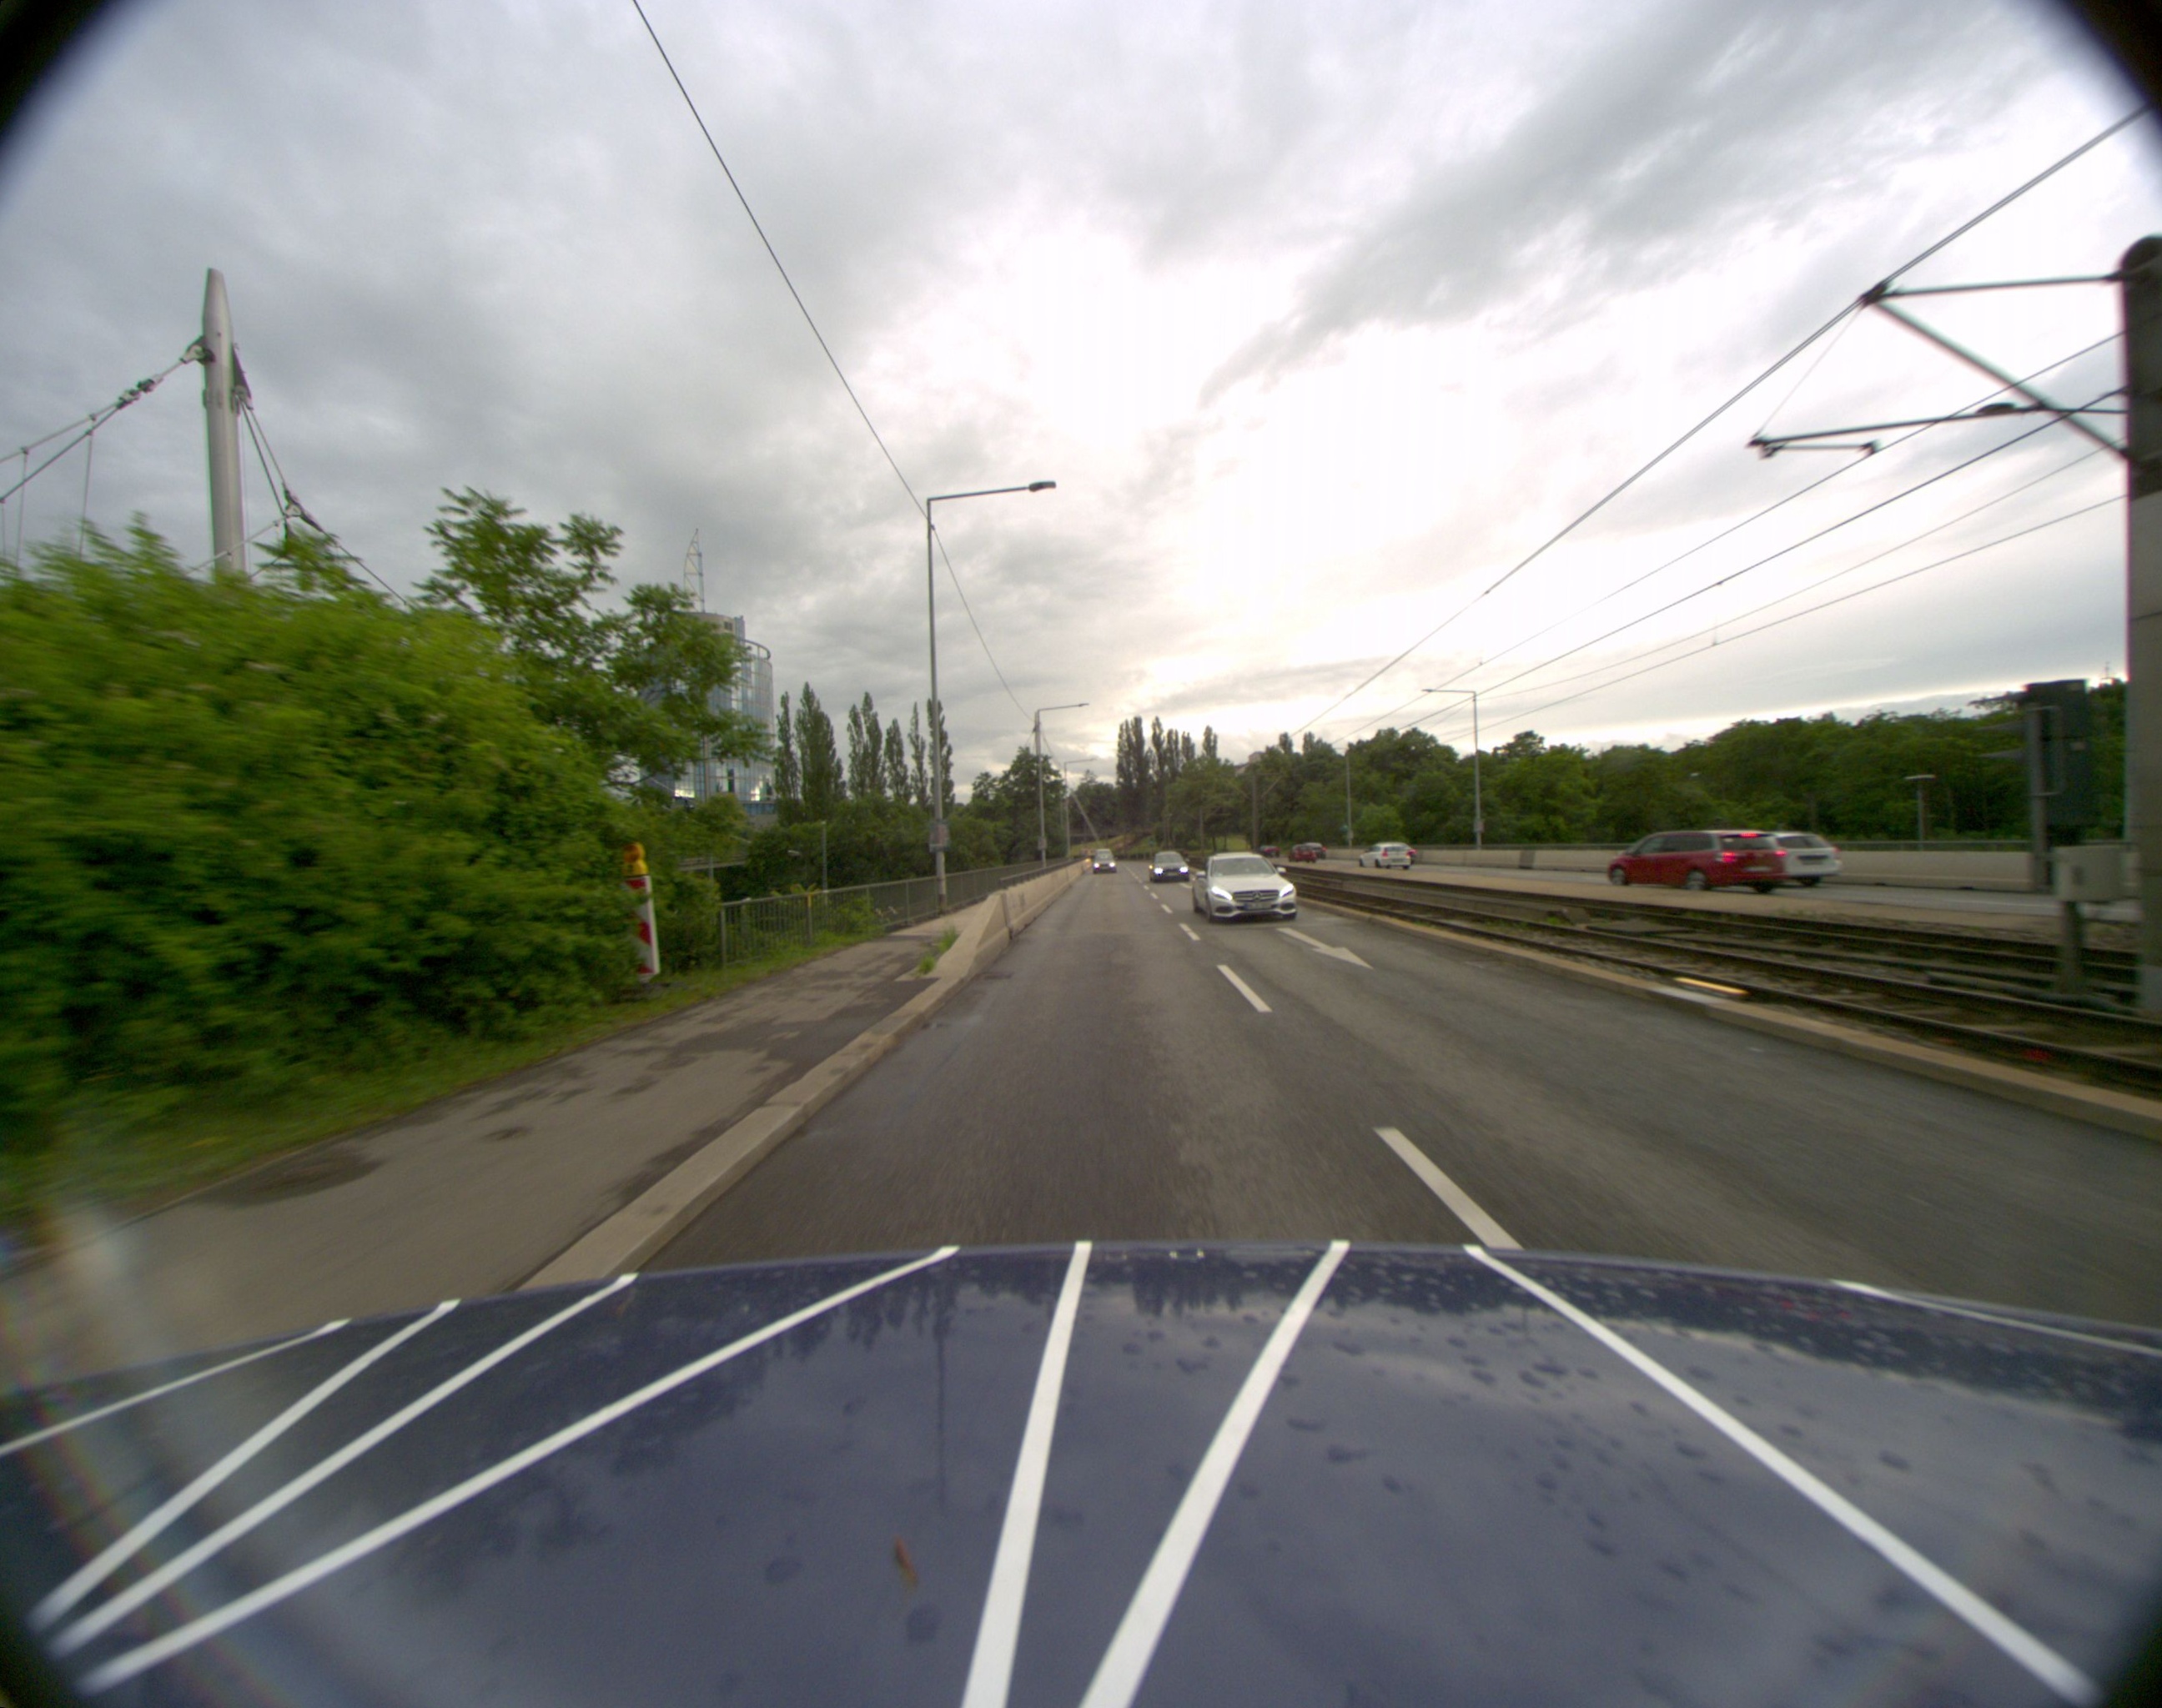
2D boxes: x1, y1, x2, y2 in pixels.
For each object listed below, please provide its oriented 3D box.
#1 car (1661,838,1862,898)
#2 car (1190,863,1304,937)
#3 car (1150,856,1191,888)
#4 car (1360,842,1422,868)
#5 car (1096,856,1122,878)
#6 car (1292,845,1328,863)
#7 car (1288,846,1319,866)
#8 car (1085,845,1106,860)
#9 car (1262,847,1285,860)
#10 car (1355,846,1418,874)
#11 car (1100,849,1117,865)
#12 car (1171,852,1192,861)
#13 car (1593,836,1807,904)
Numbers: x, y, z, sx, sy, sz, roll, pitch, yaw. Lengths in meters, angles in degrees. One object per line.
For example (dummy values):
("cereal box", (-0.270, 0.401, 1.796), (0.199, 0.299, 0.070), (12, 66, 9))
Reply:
("car", (19.615, 0.336, 22.226), (1.825, 1.506, 4.528), (-2, 1, 0))
("car", (3.590, 0.934, 17.137), (1.871, 1.348, 4.061), (-2, 0, 4))
("car", (4.381, 0.854, 37.689), (1.735, 1.344, 4.000), (-2, 1, 3))
("car", (20.691, 0.053, 50.930), (1.974, 1.588, 5.184), (-1, 0, 0))
("car", (2.060, 0.928, 56.856), (1.768, 1.492, 3.999), (-2, 1, -1))
("car", (21.368, 0.044, 71.085), (1.901, 1.588, 4.732), (-1, 0, 0))
("car", (18.063, 0.150, 61.751), (1.605, 1.485, 3.016), (-1, 2, 0))
("car", (3.085, -0.252, 163.065), (2.398, 3.097, 6.348), (-3, 1, -16))
("car", (22.924, -0.040, 90.561), (1.820, 1.428, 4.741), (-2, 0, 3))
("car", (17.212, 0.289, 43.092), (1.734, 1.428, 4.490), (-1, 1, 0))
("car", (3.439, 0.338, 94.313), (1.768, 1.806, 3.999), (-3, 1, -2))
("car", (17.387, 0.477, 131.385), (1.843, 1.306, 4.613), (-4, 0, -15))
("car", (16.299, 0.384, 20.417), (1.853, 1.588, 4.731), (-1, 0, -1))
